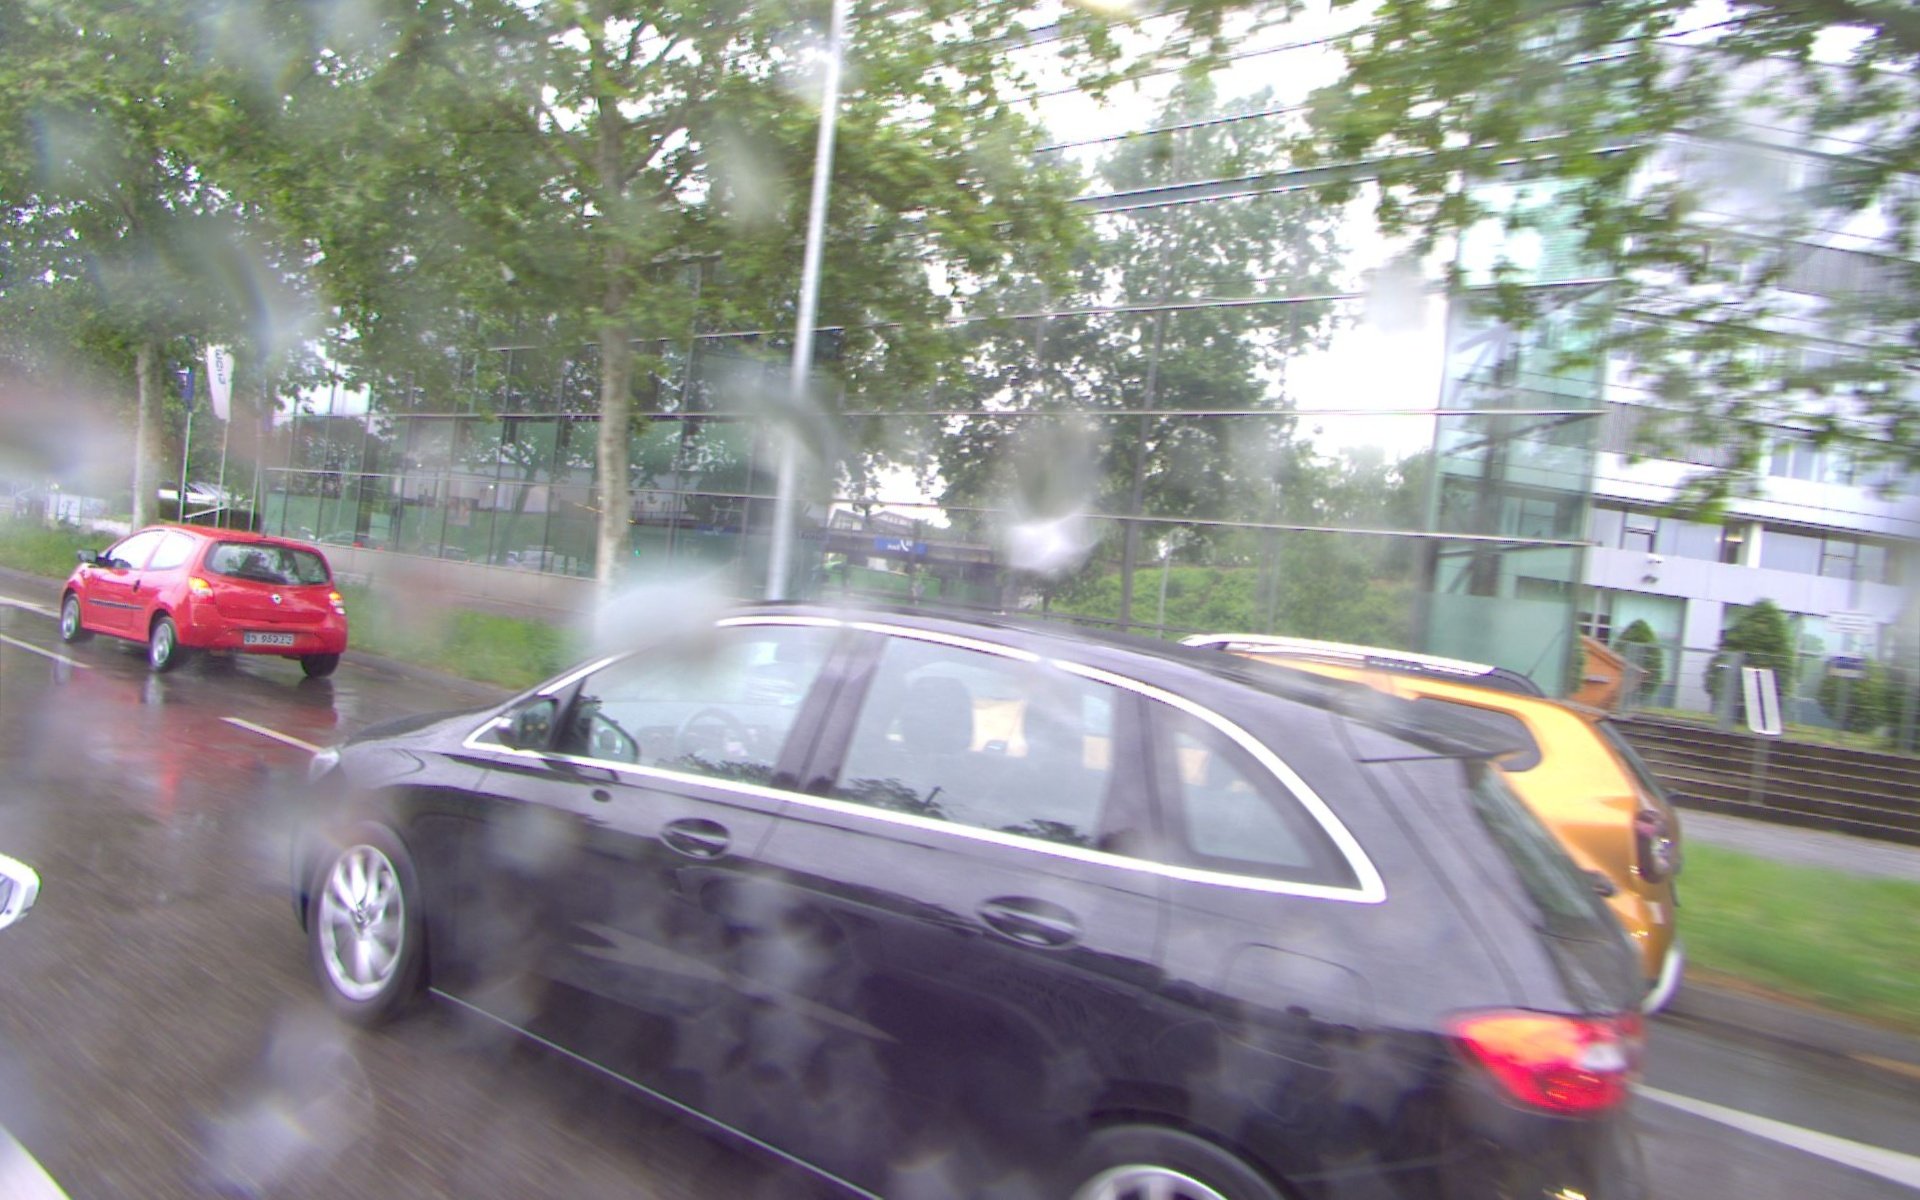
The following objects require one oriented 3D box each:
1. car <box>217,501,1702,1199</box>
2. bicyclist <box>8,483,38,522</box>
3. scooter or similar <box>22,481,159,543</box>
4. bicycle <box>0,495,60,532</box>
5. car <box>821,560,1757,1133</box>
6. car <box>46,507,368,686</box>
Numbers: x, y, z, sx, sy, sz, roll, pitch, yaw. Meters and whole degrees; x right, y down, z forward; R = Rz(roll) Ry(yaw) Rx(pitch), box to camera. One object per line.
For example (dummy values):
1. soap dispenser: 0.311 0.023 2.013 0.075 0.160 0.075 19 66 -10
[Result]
1. car: -0.327 0.724 3.216 4.021 1.573 1.751 7 -1 31
2. bicyclist: -36.901 -3.837 39.627 0.612 1.436 0.469 7 0 -17
3. scooter or similar: -47.246 -4.751 54.785 5.228 2.475 1.893 8 0 -9
4. bicycle: -36.978 -3.423 39.725 0.612 1.200 3.364 7 -1 -16
5. car: 1.467 0.940 5.417 4.079 1.704 1.679 8 -2 32
6. car: -8.308 -0.052 11.056 3.332 1.480 1.572 7 -1 31
